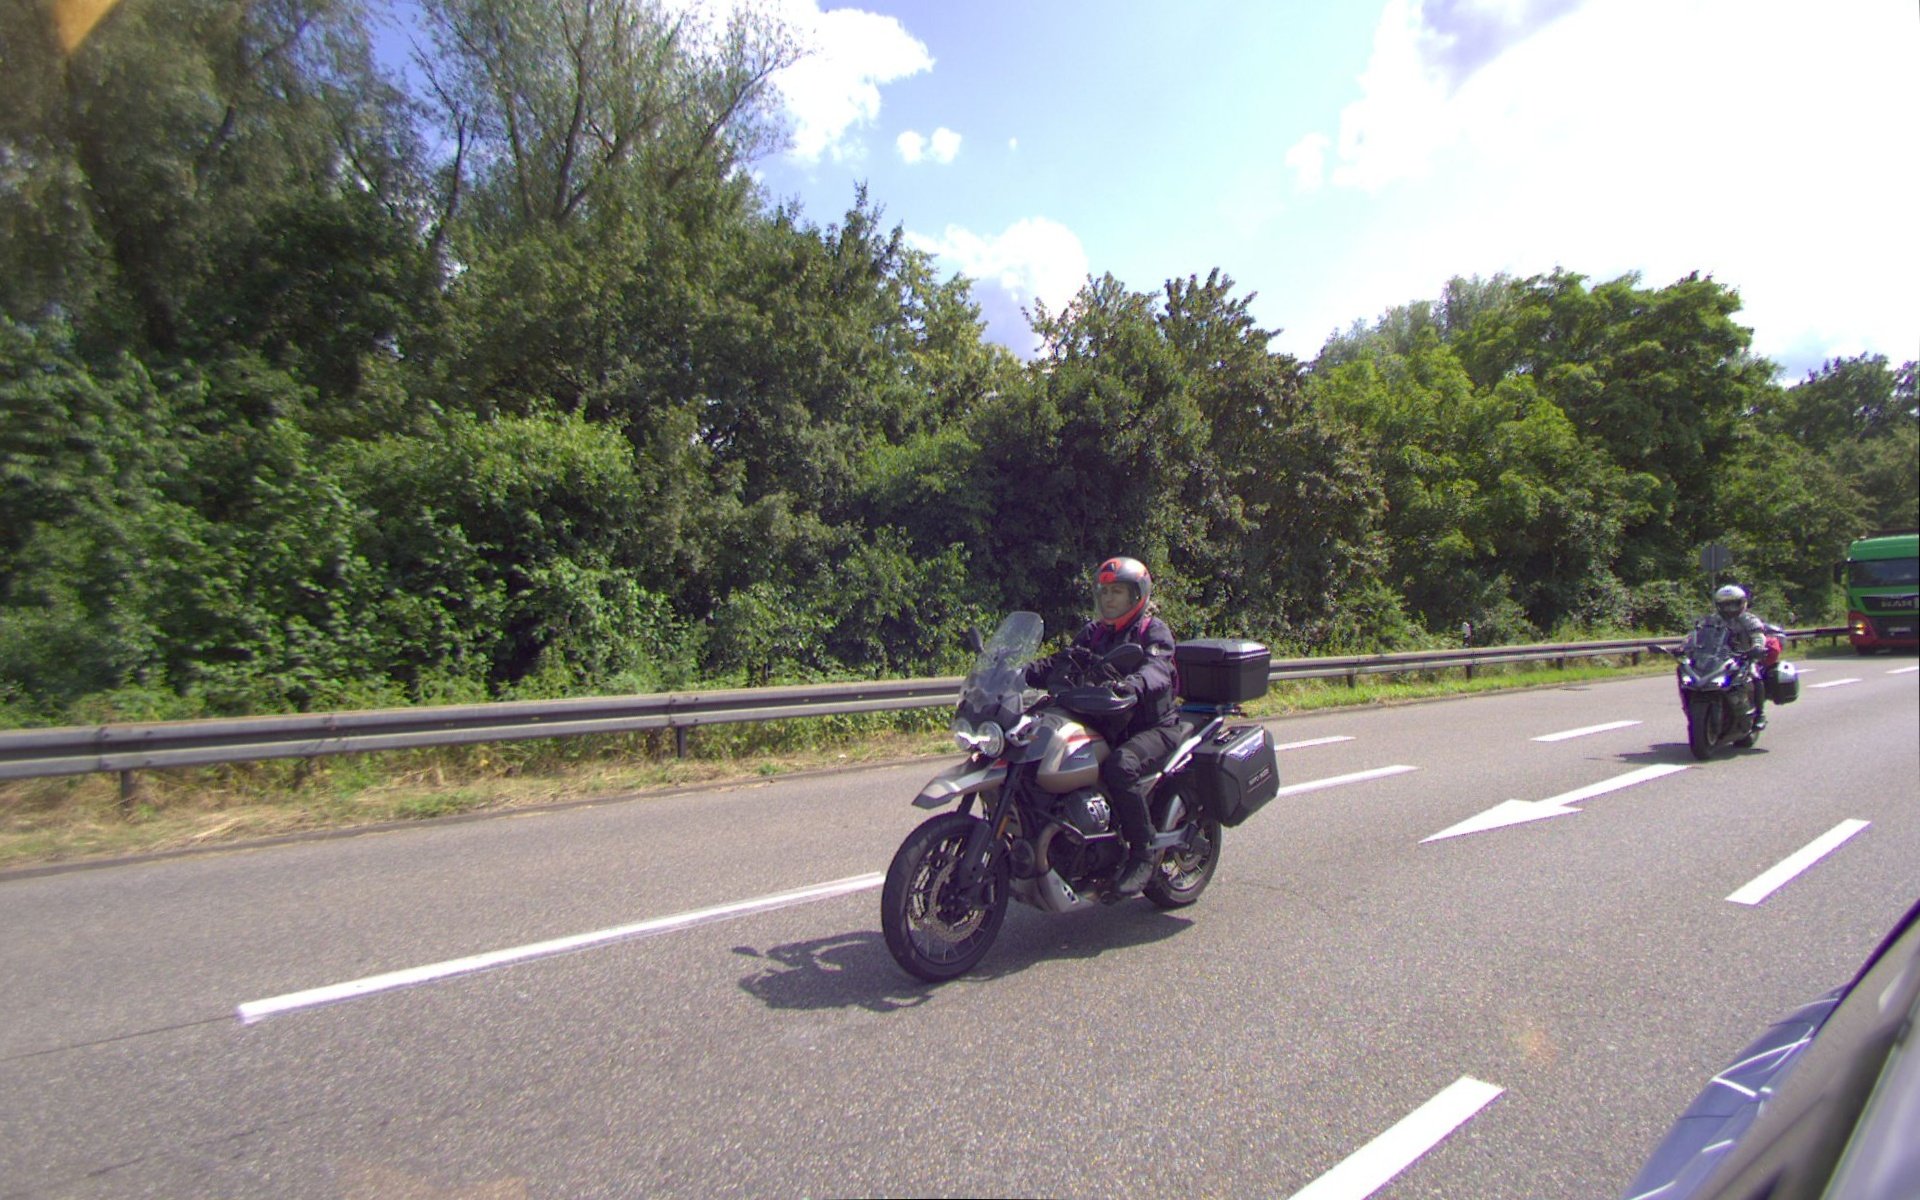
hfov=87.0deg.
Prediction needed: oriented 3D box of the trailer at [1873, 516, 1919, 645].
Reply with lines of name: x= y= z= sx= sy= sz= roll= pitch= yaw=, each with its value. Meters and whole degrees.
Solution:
trailer: x=35.351 y=-0.615 z=34.861 sx=14.226 sy=3.944 sz=2.592 roll=0 pitch=-3 yaw=-35

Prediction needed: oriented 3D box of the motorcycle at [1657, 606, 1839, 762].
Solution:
motorcycle: x=7.975 y=0.768 z=10.206 sx=2.326 sy=1.407 sz=0.867 roll=1 pitch=-1 yaw=-37

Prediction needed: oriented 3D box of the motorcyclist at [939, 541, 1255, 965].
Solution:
motorcyclist: x=0.614 y=0.583 z=4.556 sx=1.064 sy=1.611 sz=0.938 roll=0 pitch=-1 yaw=-41

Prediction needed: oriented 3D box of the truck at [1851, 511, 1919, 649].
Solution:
truck: x=29.838 y=-0.578 z=30.893 sx=5.948 sy=3.945 sz=2.591 roll=0 pitch=-3 yaw=-36

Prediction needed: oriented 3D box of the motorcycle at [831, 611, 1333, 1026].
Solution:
motorcycle: x=0.649 y=0.756 z=4.582 sx=2.328 sy=1.401 sz=0.938 roll=0 pitch=-1 yaw=-41

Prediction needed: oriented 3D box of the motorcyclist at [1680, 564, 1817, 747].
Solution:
motorcyclist: x=7.913 y=0.527 z=10.165 sx=0.878 sy=1.722 sz=0.867 roll=1 pitch=-1 yaw=-37
